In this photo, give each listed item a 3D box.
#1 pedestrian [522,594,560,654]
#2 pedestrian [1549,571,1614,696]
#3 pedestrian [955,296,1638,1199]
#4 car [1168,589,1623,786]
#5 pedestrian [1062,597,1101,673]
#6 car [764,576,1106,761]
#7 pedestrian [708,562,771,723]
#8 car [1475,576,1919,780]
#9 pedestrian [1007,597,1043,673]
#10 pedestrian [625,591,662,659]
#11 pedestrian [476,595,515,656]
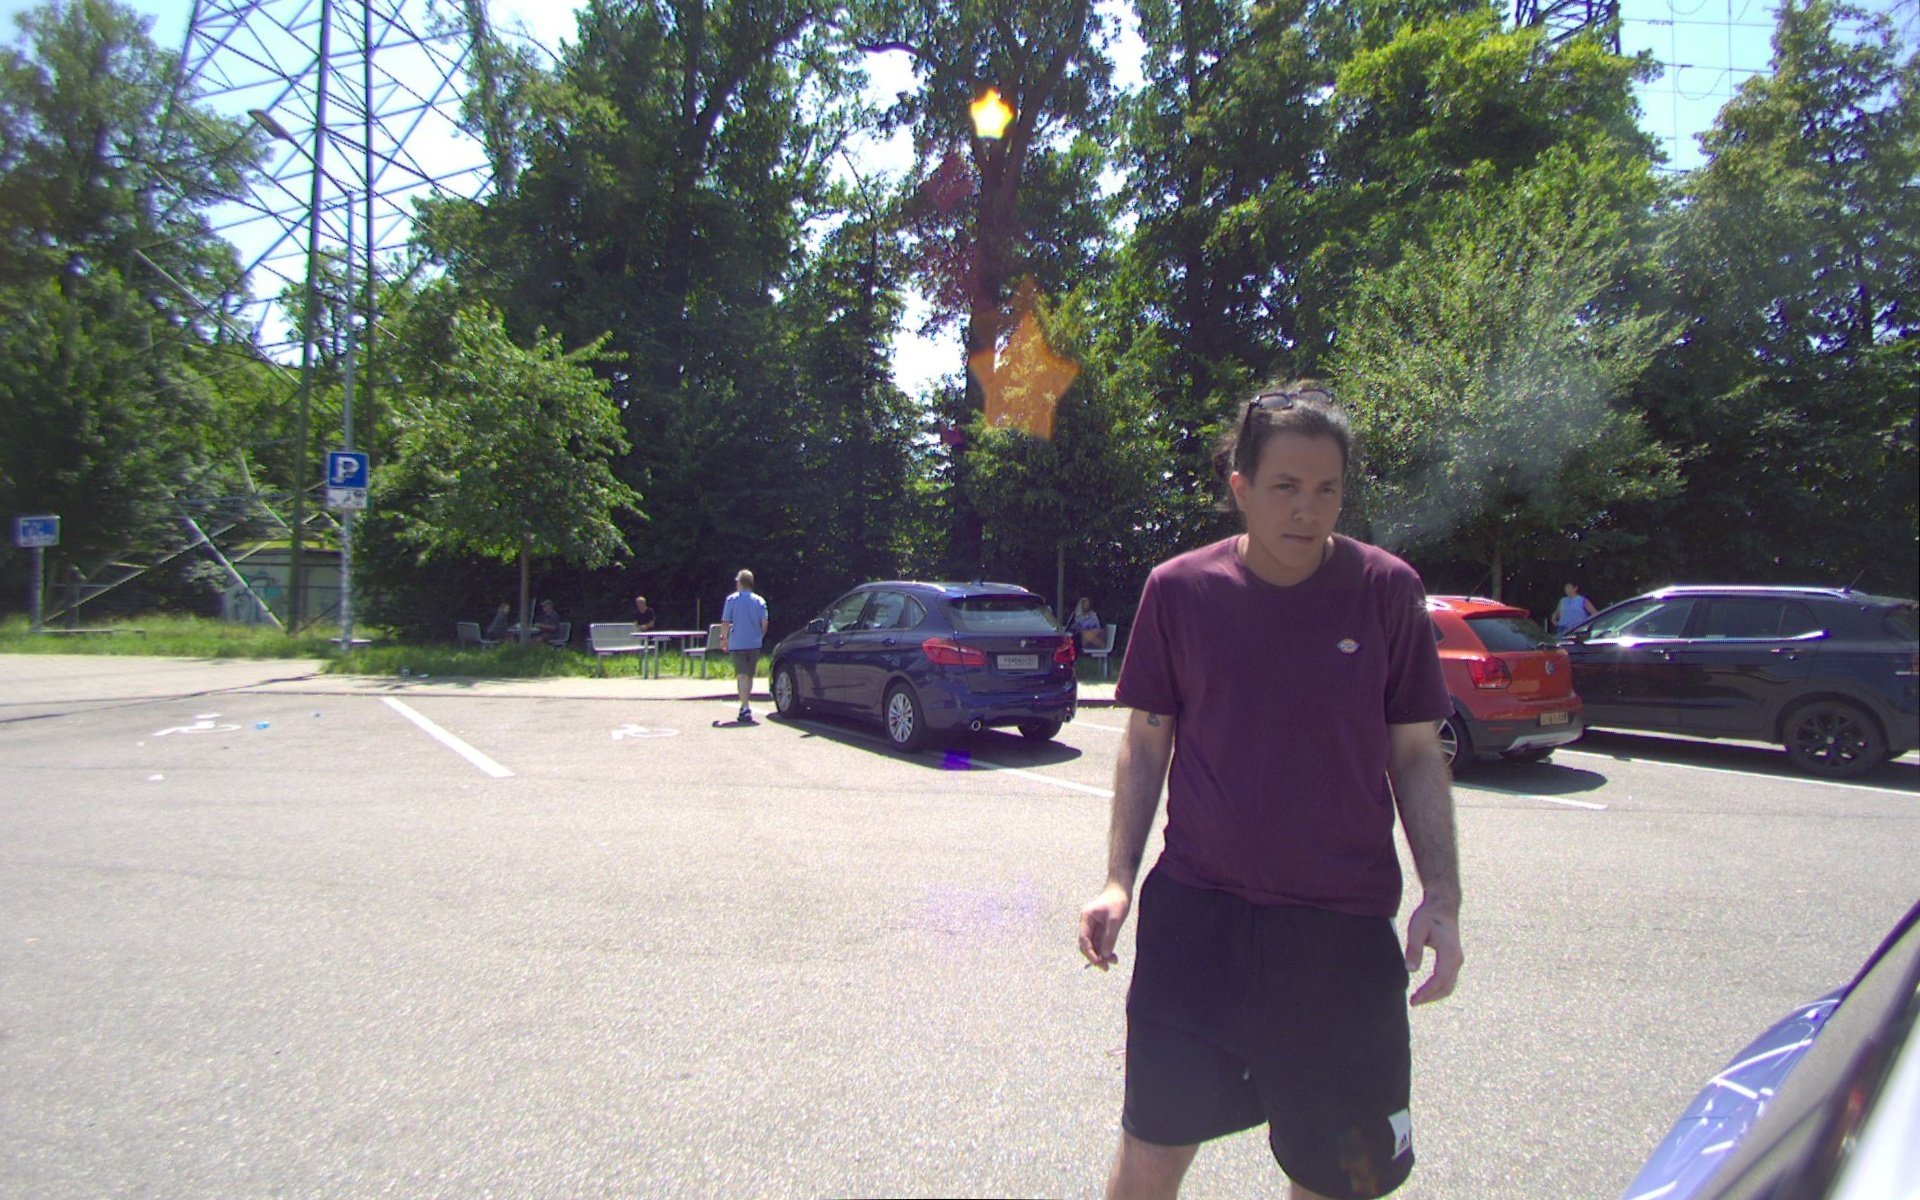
[{"bbox_3d":[-9.733,0.549,23.495,0.687,1.352,0.563,0,0,-40],"label":"pedestrian"},{"bbox_3d":[9.422,0.491,15.363,0.756,1.854,0.517,0,0,22],"label":"pedestrian"},{"bbox_3d":[0.589,0.545,1.855,0.848,1.857,0.861,0,0,-37],"label":"pedestrian"},{"bbox_3d":[3.881,0.646,9.610,1.559,1.467,3.737,1,0,-33],"label":"car"},{"bbox_3d":[2.043,0.583,17.032,0.576,1.251,0.697,0,-1,1],"label":"pedestrian"},{"bbox_3d":[-0.456,0.559,10.683,1.776,1.562,3.940,1,0,-34],"label":"car"},{"bbox_3d":[-2.506,0.460,11.529,0.662,1.754,0.835,0,0,-11],"label":"pedestrian"},{"bbox_3d":[7.247,0.596,9.725,1.707,1.607,3.732,1,0,-39],"label":"car"},{"bbox_3d":[1.095,0.587,17.098,0.576,1.251,0.697,0,-1,1],"label":"pedestrian"},{"bbox_3d":[-6.661,0.524,21.334,0.553,1.408,0.700,0,0,2],"label":"pedestrian"},{"bbox_3d":[-10.491,0.559,22.857,0.687,1.352,0.563,0,0,-40],"label":"pedestrian"}]
